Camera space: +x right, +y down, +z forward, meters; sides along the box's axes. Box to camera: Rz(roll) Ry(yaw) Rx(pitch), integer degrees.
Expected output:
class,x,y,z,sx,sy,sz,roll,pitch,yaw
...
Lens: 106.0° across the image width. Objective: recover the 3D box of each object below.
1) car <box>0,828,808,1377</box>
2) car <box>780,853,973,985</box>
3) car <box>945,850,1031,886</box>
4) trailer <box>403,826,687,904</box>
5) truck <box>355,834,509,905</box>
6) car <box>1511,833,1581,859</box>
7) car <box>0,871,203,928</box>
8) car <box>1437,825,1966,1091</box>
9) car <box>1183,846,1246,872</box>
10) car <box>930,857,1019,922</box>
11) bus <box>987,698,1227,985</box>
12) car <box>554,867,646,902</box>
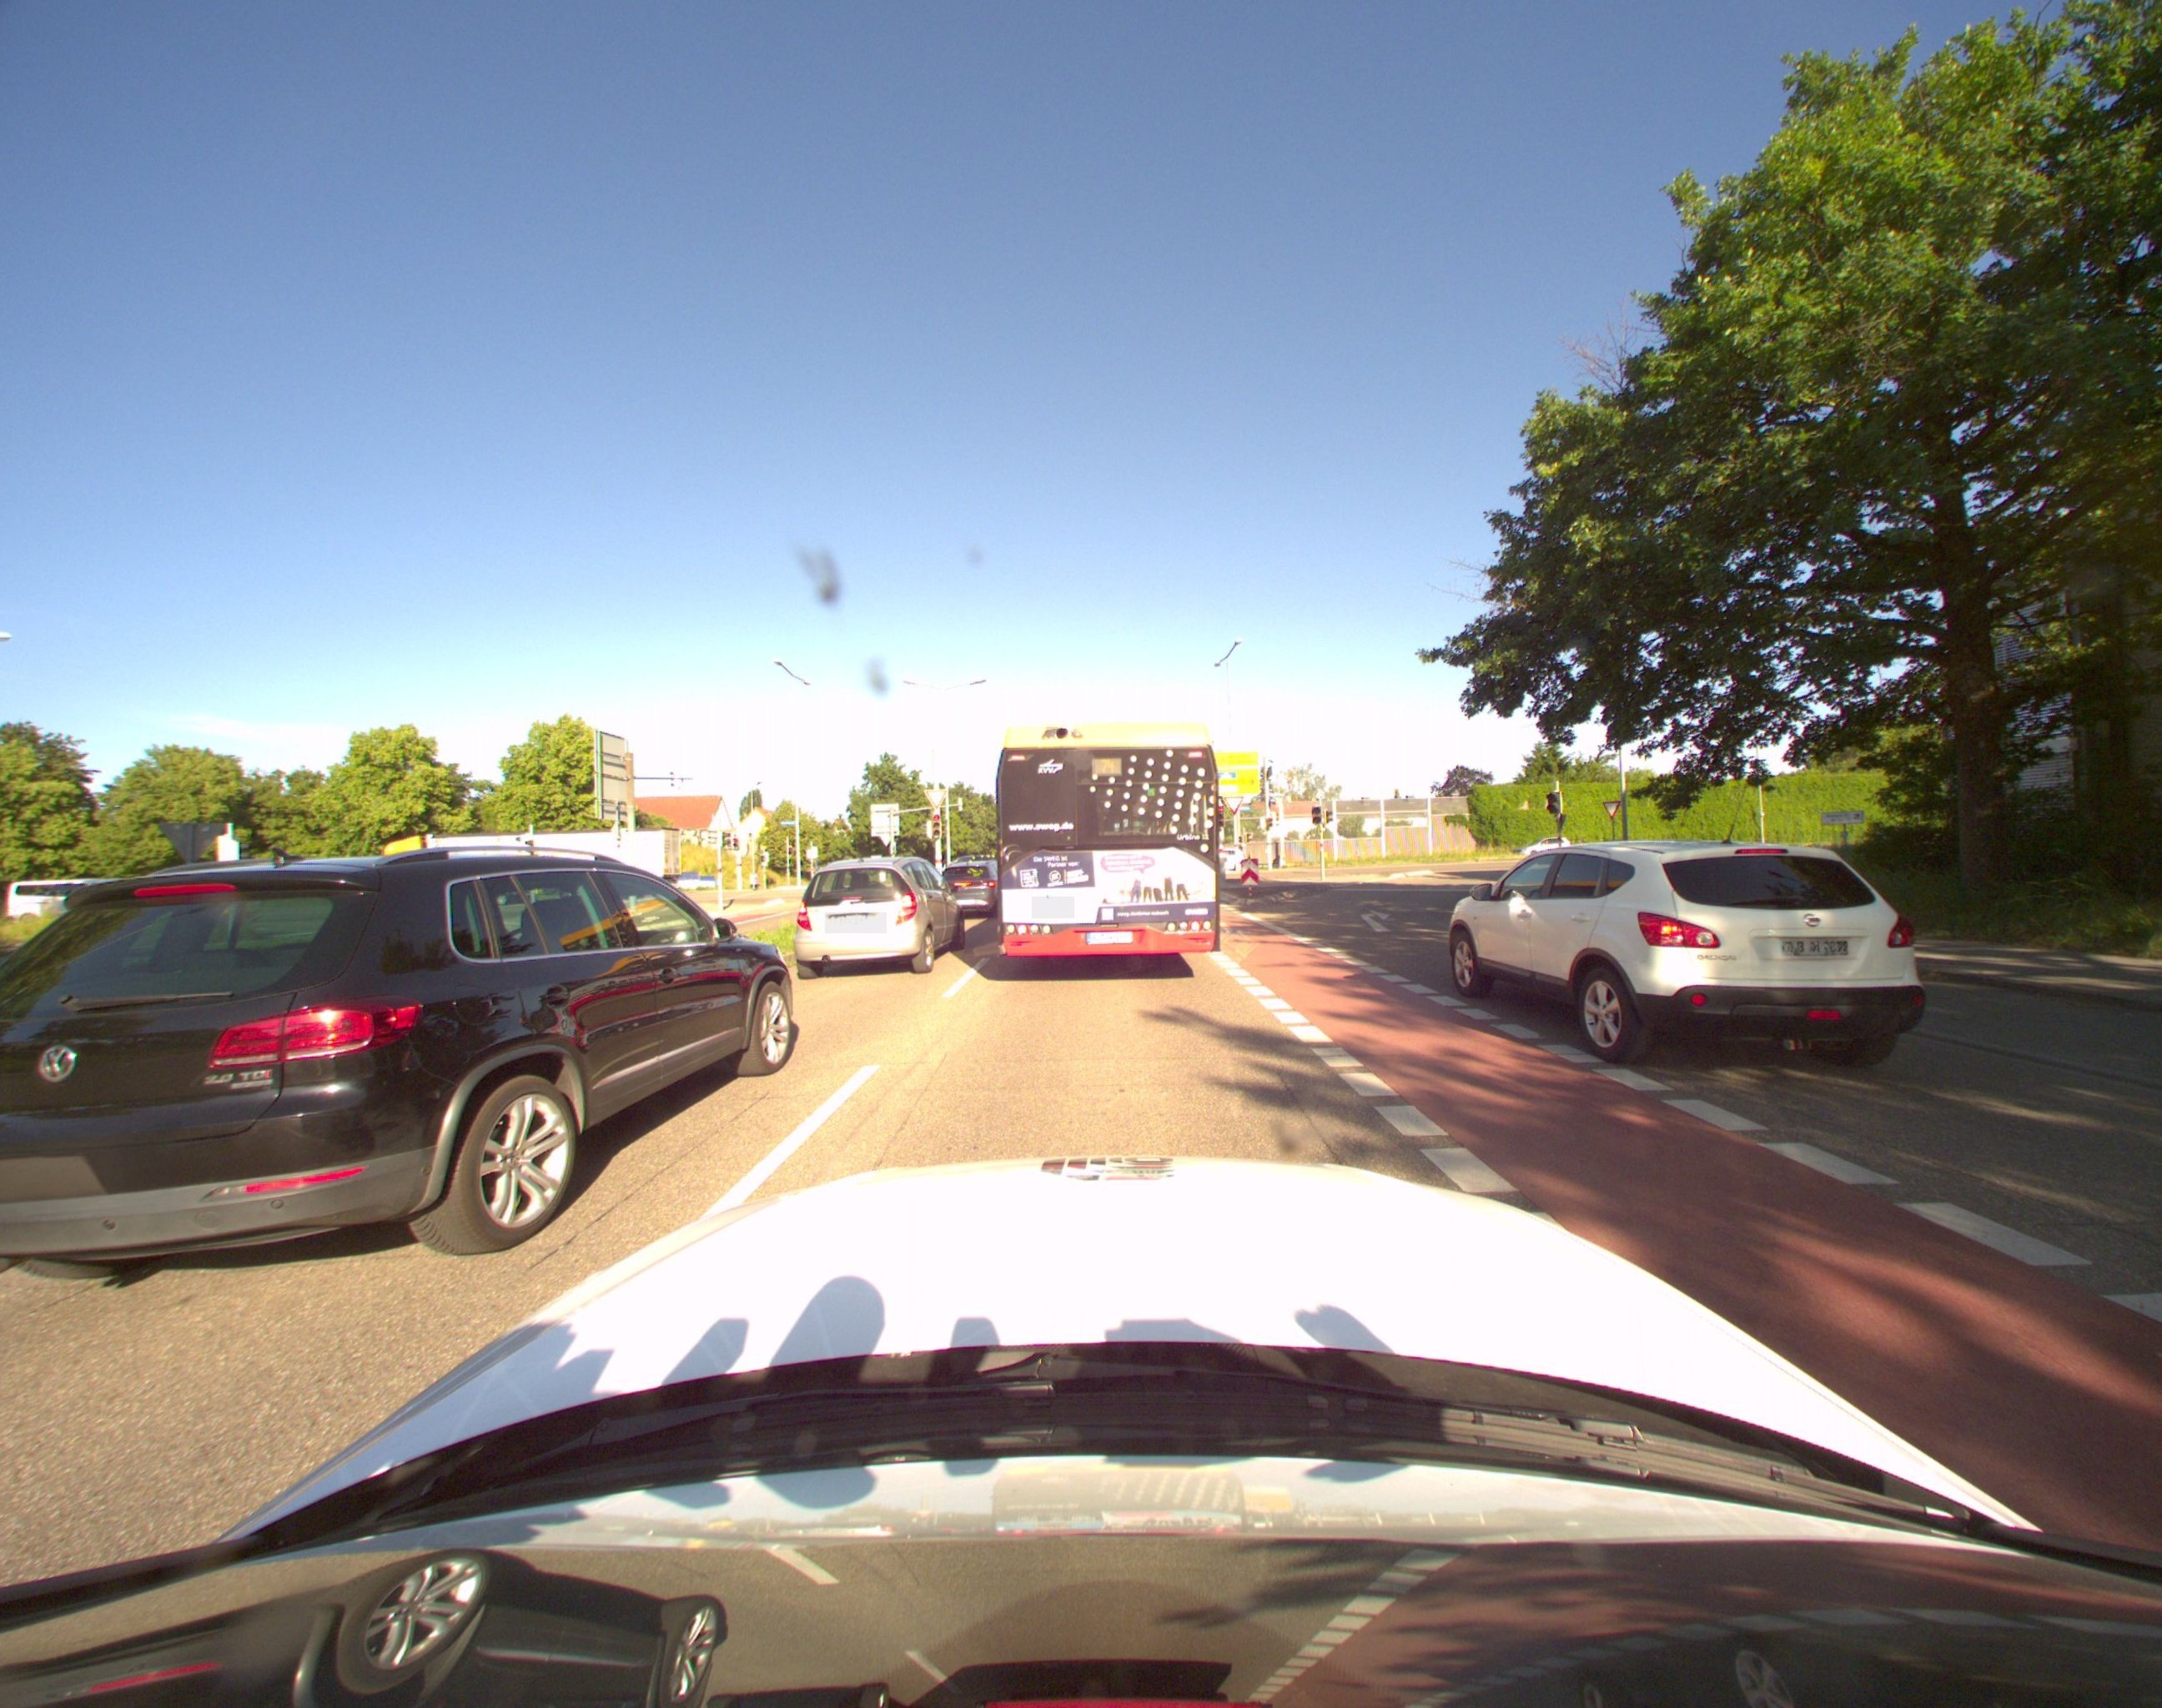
class,x,y,z,sx,sy,sz,roll,pitch,yaw
car,-3.167,0.800,4.551,1.766,1.653,4.001,-3,0,1
car,-2.870,0.825,12.377,1.755,1.589,4.001,-3,0,1
car,-4.599,0.689,40.677,1.745,1.526,4.106,-4,0,41
trailer,-32.766,0.644,50.390,14.629,4.013,3.435,-3,-1,-5
truck,-39.535,0.929,49.836,6.463,4.013,3.436,-1,0,-4
car,33.592,-0.561,58.921,3.975,1.816,1.922,0,-1,-1
car,-39.980,1.824,33.357,5.375,2.118,2.178,-1,-1,-4
car,4.658,0.635,7.007,1.709,1.607,4.073,-1,0,5
car,8.759,0.331,53.483,3.800,1.612,1.704,0,-1,-5
car,-2.684,0.858,21.311,1.686,1.458,3.751,-3,0,1
bus,0.528,-0.163,15.015,2.632,3.167,11.867,-1,0,2
car,-24.566,1.538,41.670,3.577,1.560,1.747,-2,0,-5
